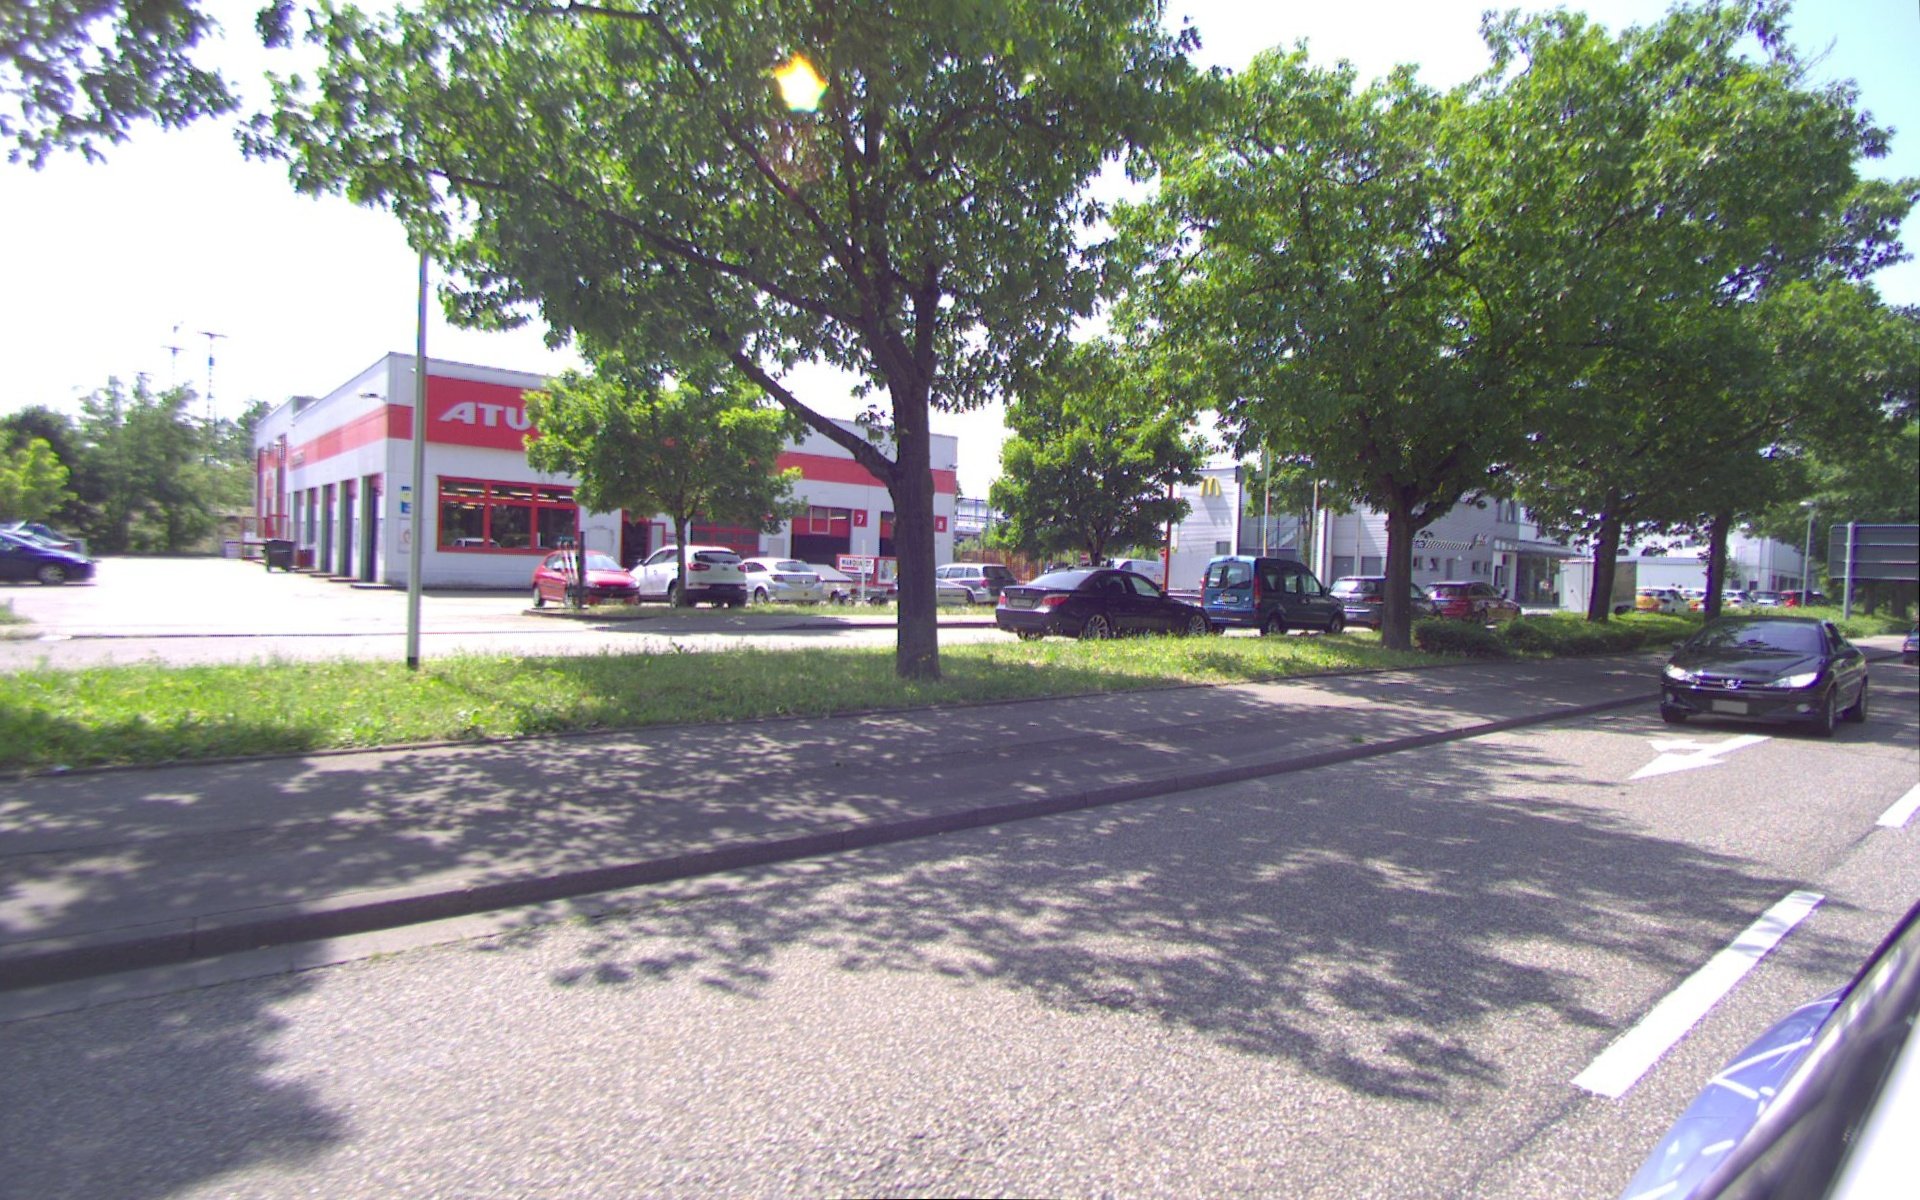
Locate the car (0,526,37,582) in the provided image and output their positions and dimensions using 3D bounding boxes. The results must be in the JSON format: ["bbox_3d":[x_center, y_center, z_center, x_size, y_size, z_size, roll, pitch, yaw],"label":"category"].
[{"bbox_3d":[-29.338,-1.386,29.198,3.929,1.639,1.714,0,3,-41],"label":"car"}]

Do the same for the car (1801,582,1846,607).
[{"bbox_3d":[55.021,-0.373,64.562,1.902,1.469,5.525,2,2,38],"label":"car"}]

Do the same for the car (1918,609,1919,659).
[{"bbox_3d":[28.188,0.990,28.378,3.889,1.340,1.709,1,1,-44],"label":"car"}]

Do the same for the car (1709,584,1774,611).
[{"bbox_3d":[38.865,-0.157,50.299,3.795,1.268,1.624,-1,2,-37],"label":"car"}]

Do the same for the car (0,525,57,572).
[{"bbox_3d":[-30.752,-1.658,31.469,3.929,1.437,1.714,0,3,-41],"label":"car"}]

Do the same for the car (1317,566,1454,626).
[{"bbox_3d":[10.956,-0.102,25.954,3.837,1.397,1.704,0,2,-41],"label":"car"}]

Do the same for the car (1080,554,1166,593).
[{"bbox_3d":[8.196,-1.304,50.644,4.550,1.827,1.713,0,3,-41],"label":"car"}]

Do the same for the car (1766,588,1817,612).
[{"bbox_3d":[46.534,-0.016,56.605,3.698,1.268,1.622,-1,2,-41],"label":"car"}]

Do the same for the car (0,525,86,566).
[{"bbox_3d":[-33.017,-1.914,35.182,3.929,1.336,1.714,0,3,-41],"label":"car"}]

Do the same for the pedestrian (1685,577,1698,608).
[{"bbox_3d":[47.331,-0.475,65.461,0.525,1.944,0.467,1,2,-41],"label":"pedestrian"}]

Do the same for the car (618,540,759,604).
[{"bbox_3d":[-7.026,-0.739,25.989,1.909,1.459,3.995,0,3,-41],"label":"car"}]

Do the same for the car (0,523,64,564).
[{"bbox_3d":[-40.874,-2.449,43.150,3.929,1.682,1.701,0,3,-41],"label":"car"}]

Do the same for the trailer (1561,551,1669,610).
[{"bbox_3d":[24.525,-0.690,37.813,5.383,2.080,1.705,1,2,-38],"label":"trailer"}]

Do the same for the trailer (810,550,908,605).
[{"bbox_3d":[-3.283,-0.750,32.505,1.387,1.601,3.615,1,3,-38],"label":"trailer"}]

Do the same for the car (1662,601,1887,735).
[{"bbox_3d":[10.390,0.747,12.838,3.439,1.373,1.640,-1,2,-41],"label":"car"}]

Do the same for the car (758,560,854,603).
[{"bbox_3d":[-4.684,-0.527,30.534,1.499,1.223,3.133,0,0,-38],"label":"car"}]

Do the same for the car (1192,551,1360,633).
[{"bbox_3d":[7.088,-0.209,22.554,3.835,1.657,1.705,-1,2,-39],"label":"car"}]

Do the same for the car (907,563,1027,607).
[{"bbox_3d":[0.172,-0.492,31.819,1.727,1.197,3.812,0,3,-39],"label":"car"}]

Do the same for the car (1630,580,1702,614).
[{"bbox_3d":[28.629,-0.139,41.012,3.568,1.268,1.622,-1,2,-42],"label":"car"}]

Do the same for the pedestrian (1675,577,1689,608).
[{"bbox_3d":[47.133,-0.500,66.039,0.401,1.944,0.583,1,2,-40],"label":"pedestrian"}]

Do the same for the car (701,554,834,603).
[{"bbox_3d":[-5.321,-0.614,27.617,1.875,1.236,3.996,-1,2,-40],"label":"car"}]

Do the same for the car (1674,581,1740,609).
[{"bbox_3d":[33.250,-0.232,45.041,3.673,1.172,1.596,-1,2,-41],"label":"car"}]

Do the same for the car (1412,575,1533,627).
[{"bbox_3d":[15.264,0.032,30.054,4.248,1.397,1.704,0,2,-41],"label":"car"}]

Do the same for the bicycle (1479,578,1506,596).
[{"bbox_3d":[31.887,-0.763,60.580,2.064,0.992,0.590,0,3,-39],"label":"bicycle"}]

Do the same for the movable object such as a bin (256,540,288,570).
[{"bbox_3d":[-28.204,-1.847,41.467,0.912,1.188,1.813,1,3,-40],"label":"movable object such as a bin"}]

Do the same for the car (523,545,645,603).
[{"bbox_3d":[-9.240,-0.588,24.756,1.786,1.324,3.573,0,0,-38],"label":"car"}]

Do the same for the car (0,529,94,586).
[{"bbox_3d":[-25.749,-1.135,26.934,4.077,1.504,1.749,-1,2,-41],"label":"car"}]

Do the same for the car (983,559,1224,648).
[{"bbox_3d":[2.749,0.016,18.801,4.568,1.442,1.706,0,2,-37],"label":"car"}]

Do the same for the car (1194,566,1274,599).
[{"bbox_3d":[12.283,-0.763,45.318,3.709,1.356,1.587,0,3,-40],"label":"car"}]

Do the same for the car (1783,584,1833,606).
[{"bbox_3d":[50.149,-0.308,59.839,4.125,1.268,1.622,-1,1,-40],"label":"car"}]

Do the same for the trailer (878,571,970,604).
[{"bbox_3d":[-1.085,-0.382,29.961,1.356,0.922,2.718,0,1,-40],"label":"trailer"}]

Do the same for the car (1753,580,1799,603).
[{"bbox_3d":[43.287,-0.453,53.669,2.807,1.136,1.509,-1,2,-42],"label":"car"}]
